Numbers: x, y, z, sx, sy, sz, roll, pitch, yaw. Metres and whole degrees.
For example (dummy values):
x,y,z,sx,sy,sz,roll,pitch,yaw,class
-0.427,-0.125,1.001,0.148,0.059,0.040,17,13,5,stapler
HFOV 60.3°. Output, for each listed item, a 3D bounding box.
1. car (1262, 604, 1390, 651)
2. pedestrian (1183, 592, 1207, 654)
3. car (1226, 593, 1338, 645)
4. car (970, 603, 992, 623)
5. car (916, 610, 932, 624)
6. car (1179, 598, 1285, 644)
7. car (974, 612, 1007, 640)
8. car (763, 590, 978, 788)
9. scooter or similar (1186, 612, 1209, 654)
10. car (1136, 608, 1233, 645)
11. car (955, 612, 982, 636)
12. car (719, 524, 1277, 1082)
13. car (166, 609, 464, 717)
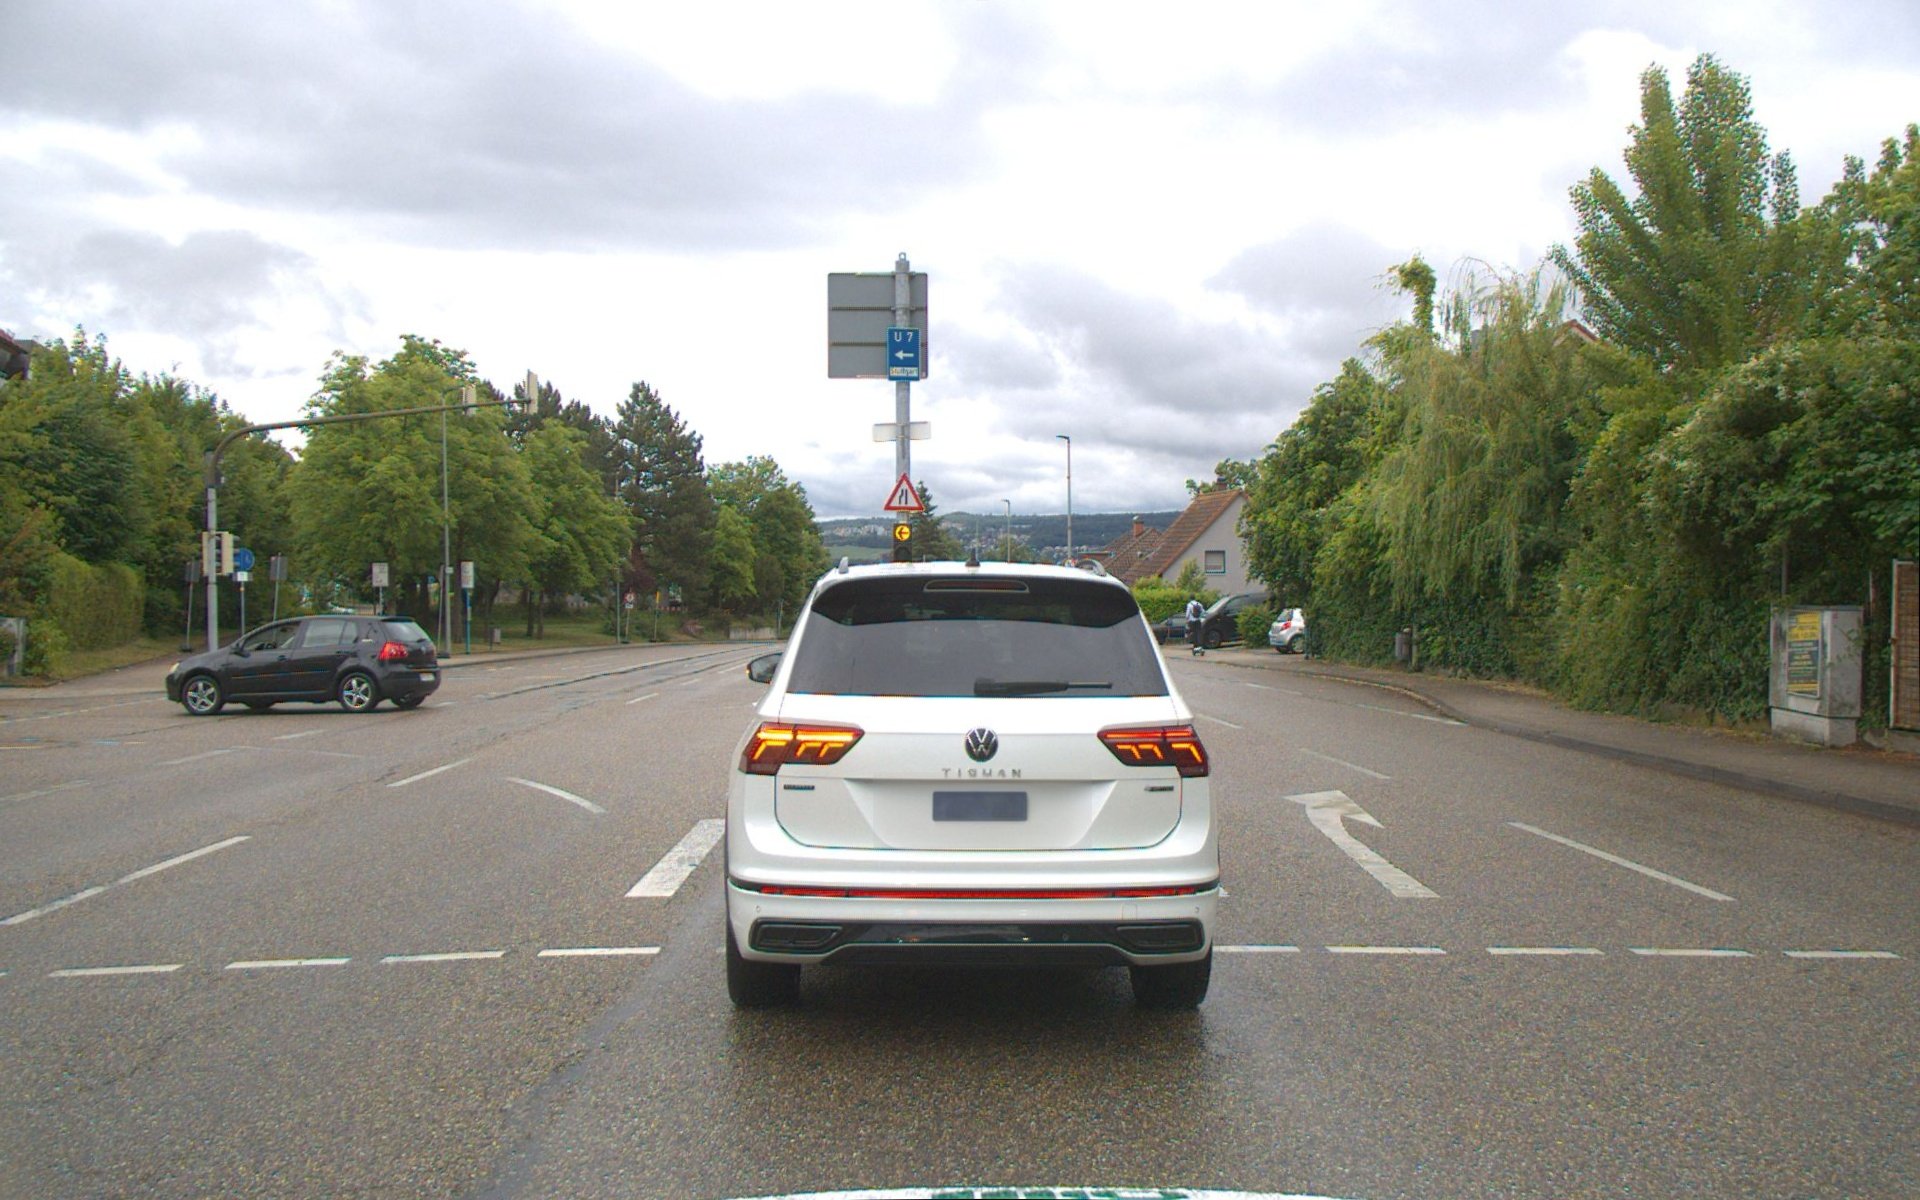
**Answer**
x,y,z,sx,sy,sz,roll,pitch,yaw,class
11.750,0.884,53.182,3.644,1.420,1.725,-1,-1,-8,car
7.765,0.764,54.629,0.642,2.037,0.717,0,0,-4,pedestrian
11.363,0.665,58.545,3.556,1.777,1.706,-1,0,-5,car
1.790,1.108,141.867,1.813,1.602,3.999,-1,0,-1,car
-4.332,2.084,198.318,1.813,1.602,3.999,-1,0,-1,car
9.989,0.755,60.887,3.556,1.655,1.789,0,0,-5,car
1.771,1.519,98.313,1.813,1.602,3.999,1,0,-1,car
-0.766,0.735,15.641,1.762,1.617,3.925,0,0,-1,car
7.850,1.085,54.709,0.452,1.385,1.383,0,0,-4,scooter or similar
8.906,1.050,65.786,3.613,1.394,1.518,1,-2,-3,car
0.610,1.658,116.437,1.813,1.602,3.999,-1,0,-1,car
0.063,0.641,7.319,1.727,1.725,4.271,1,0,-2,car
-9.938,0.954,25.617,3.902,1.505,1.767,-2,0,8,car
